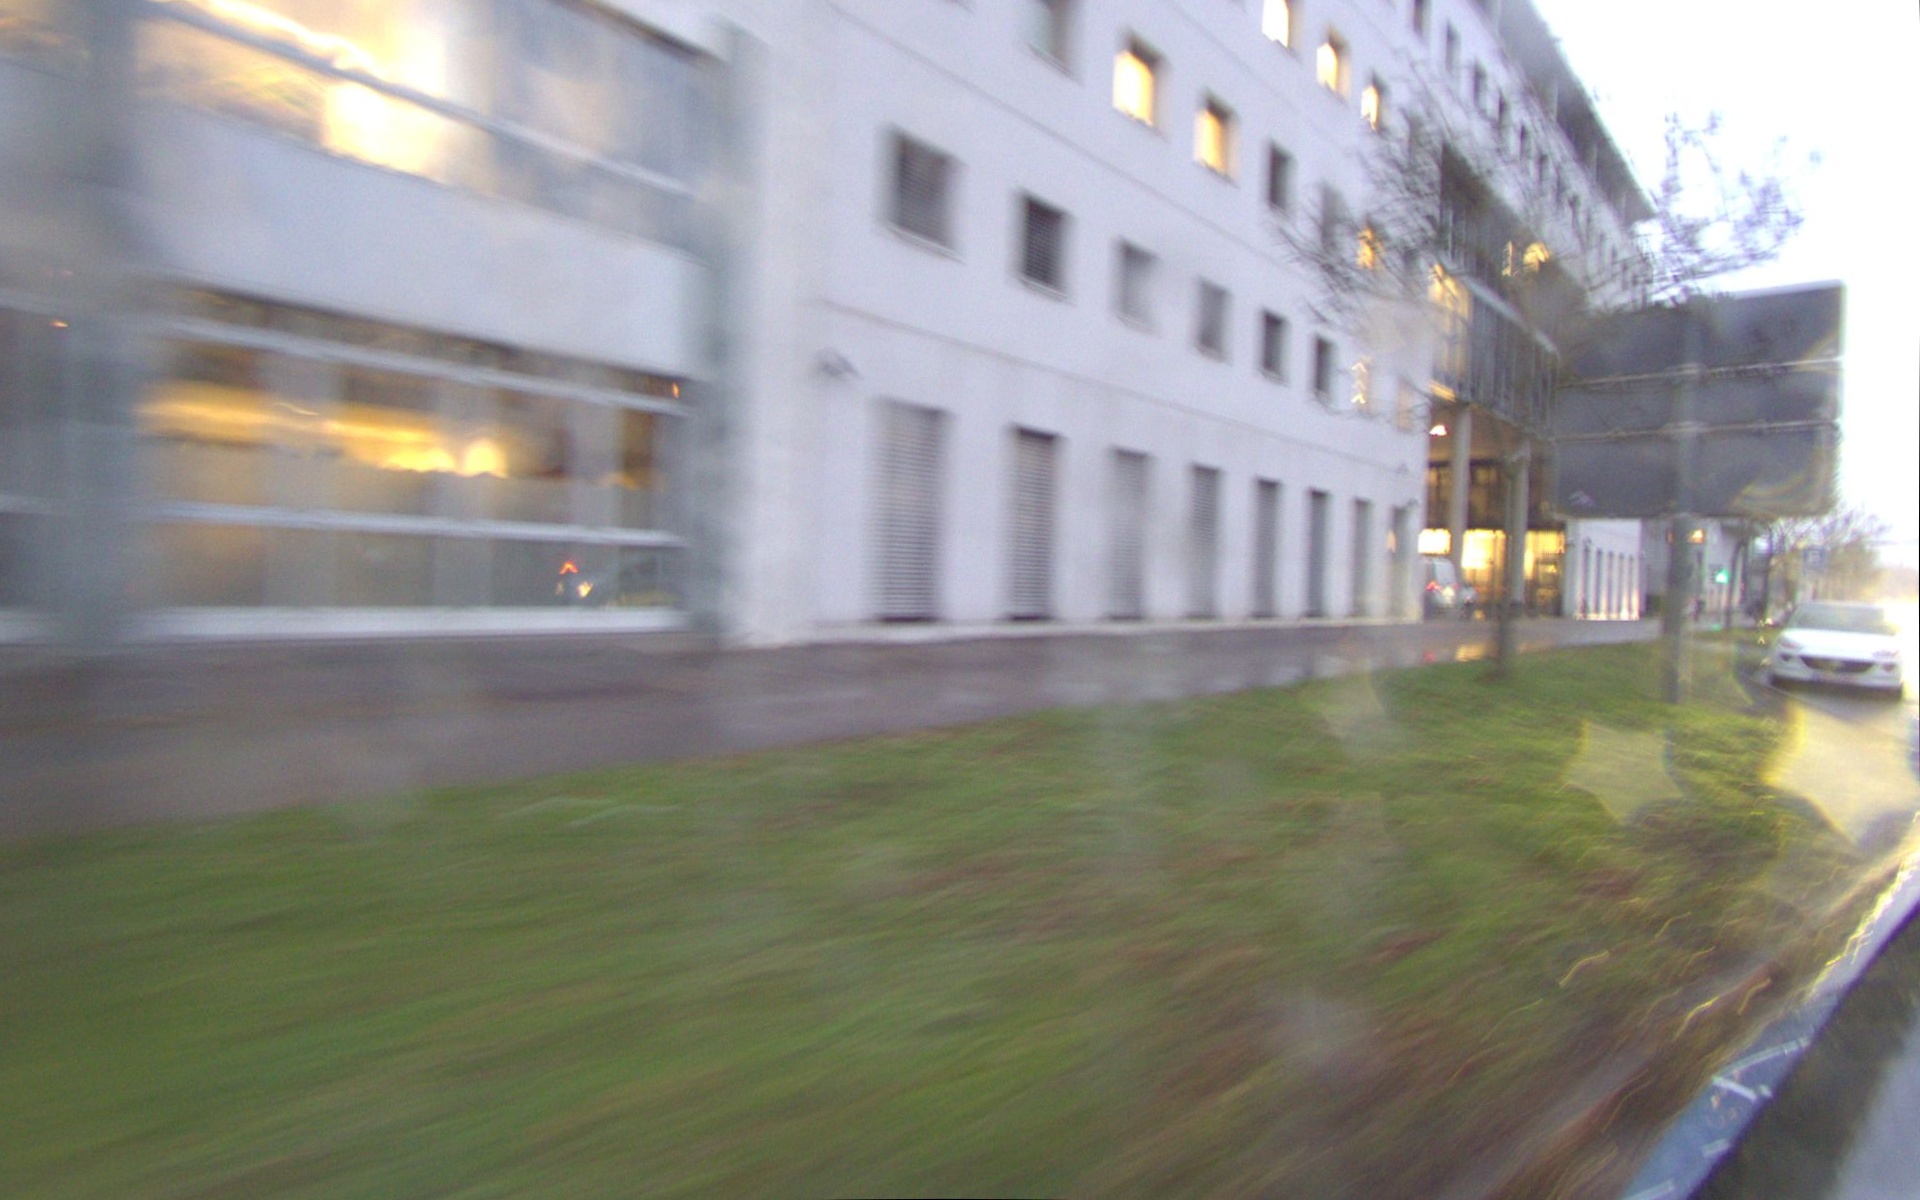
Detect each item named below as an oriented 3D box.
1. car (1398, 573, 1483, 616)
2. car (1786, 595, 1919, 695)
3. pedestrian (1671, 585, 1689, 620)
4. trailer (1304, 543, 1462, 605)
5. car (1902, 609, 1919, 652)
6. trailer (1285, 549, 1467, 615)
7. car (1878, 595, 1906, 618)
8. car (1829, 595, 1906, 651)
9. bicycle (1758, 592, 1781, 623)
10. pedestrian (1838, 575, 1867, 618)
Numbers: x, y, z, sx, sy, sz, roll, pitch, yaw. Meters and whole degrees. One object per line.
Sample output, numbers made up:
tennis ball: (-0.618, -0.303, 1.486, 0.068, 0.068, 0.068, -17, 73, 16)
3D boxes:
car: (17.396, -0.252, 36.525, 1.630, 1.387, 4.465, 4, 4, 40)
car: (15.055, 0.684, 16.995, 1.591, 1.411, 3.433, 4, 3, 42)
pedestrian: (36.679, 0.114, 51.556, 0.736, 1.757, 0.693, 0, 1, 40)
trailer: (19.221, -1.215, 46.171, 6.249, 2.613, 2.178, 3, 2, 39)
car: (41.463, 1.305, 43.262, 3.625, 1.697, 1.607, -1, 1, -45)
trailer: (13.444, -0.597, 32.957, 2.093, 1.935, 5.076, 2, 0, -41)
car: (69.526, 0.461, 75.509, 1.489, 1.614, 3.938, 0, 1, 43)
car: (26.953, 0.625, 30.076, 1.595, 1.458, 4.164, 0, 1, 42)
bicycle: (32.087, 0.286, 40.119, 0.550, 1.129, 2.133, 4, 4, 42)
pedestrian: (39.647, -0.160, 44.970, 0.770, 1.829, 0.689, 7, 6, 39)
